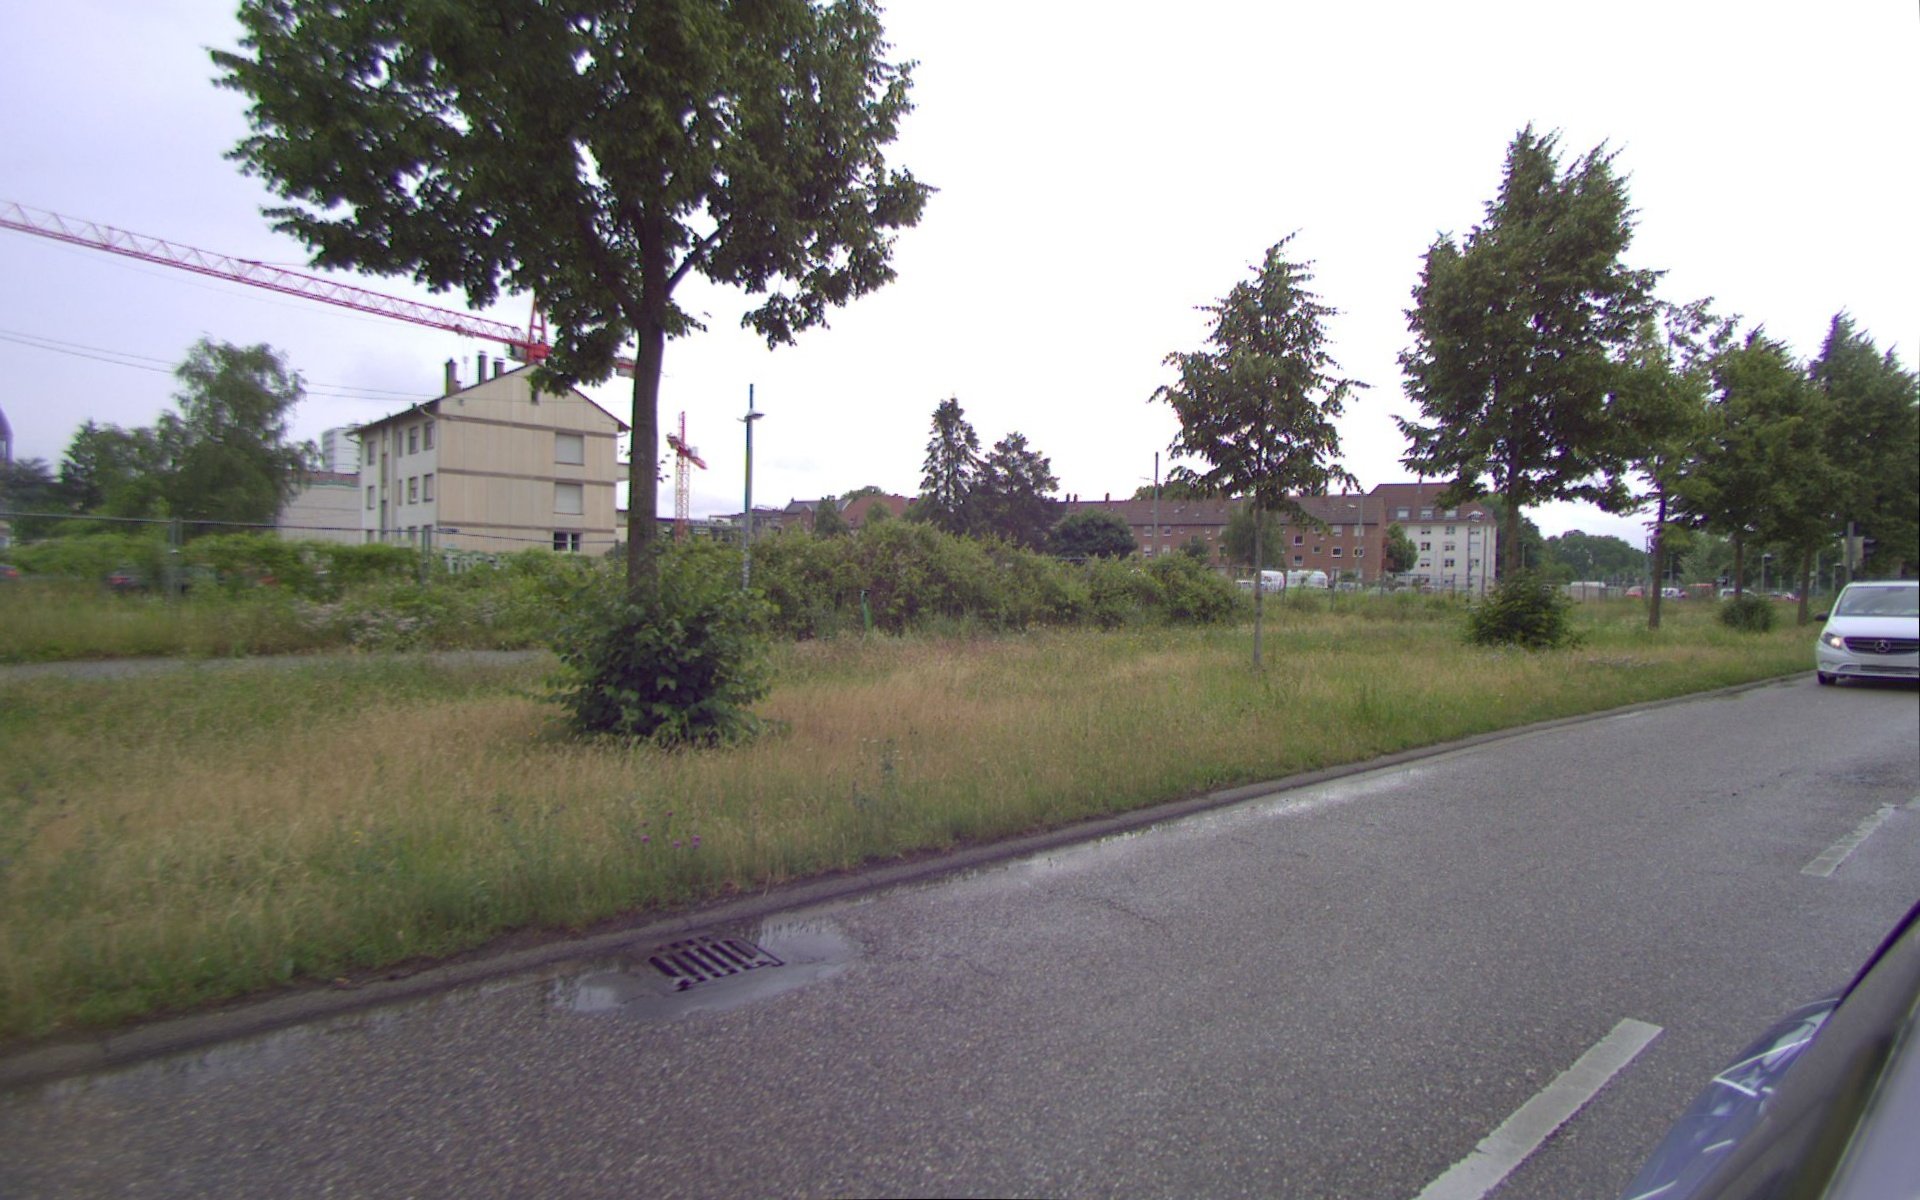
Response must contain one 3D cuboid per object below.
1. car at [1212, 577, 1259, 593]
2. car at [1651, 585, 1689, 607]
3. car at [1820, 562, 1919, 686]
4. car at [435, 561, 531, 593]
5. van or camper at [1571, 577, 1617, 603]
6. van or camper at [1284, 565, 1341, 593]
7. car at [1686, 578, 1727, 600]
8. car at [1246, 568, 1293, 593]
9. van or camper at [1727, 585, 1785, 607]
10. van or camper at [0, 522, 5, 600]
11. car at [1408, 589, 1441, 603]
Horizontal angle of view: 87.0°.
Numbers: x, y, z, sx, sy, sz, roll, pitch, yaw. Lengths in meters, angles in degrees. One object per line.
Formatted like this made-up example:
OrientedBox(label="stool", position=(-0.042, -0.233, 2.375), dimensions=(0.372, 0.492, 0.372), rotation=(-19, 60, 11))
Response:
OrientedBox(label="car", position=(25.013, -1.360, 91.751), dimensions=(4.681, 1.369, 2.092), rotation=(0, 1, -44))
OrientedBox(label="car", position=(77.982, -0.440, 111.128), dimensions=(3.921, 2.339, 2.001), rotation=(1, 0, -32))
OrientedBox(label="car", position=(17.265, 0.371, 18.217), dimensions=(5.003, 2.004, 1.971), rotation=(-1, 2, -41))
OrientedBox(label="car", position=(-23.334, -1.114, 49.589), dimensions=(3.960, 1.449, 1.700), rotation=(0, 2, -40))
OrientedBox(label="van or camper", position=(76.305, -1.238, 121.753), dimensions=(5.399, 3.073, 2.349), rotation=(0, 0, -30))
OrientedBox(label="van or camper", position=(30.879, -1.787, 88.548), dimensions=(6.045, 2.336, 2.205), rotation=(0, 0, -43))
OrientedBox(label="car", position=(79.743, -1.165, 108.042), dimensions=(3.918, 2.339, 2.003), rotation=(1, 0, -28))
OrientedBox(label="car", position=(29.387, -1.820, 96.047), dimensions=(4.681, 2.247, 2.273), rotation=(0, 1, -44))
OrientedBox(label="van or camper", position=(78.197, -0.424, 99.437), dimensions=(4.322, 2.039, 1.831), rotation=(2, 1, 44))
OrientedBox(label="van or camper", position=(-40.298, -1.543, 37.726), dimensions=(6.657, 3.031, 2.913), rotation=(0, 1, -40))
OrientedBox(label="car", position=(48.724, -0.406, 106.082), dimensions=(1.992, 1.405, 4.499), rotation=(0, 0, 42))
